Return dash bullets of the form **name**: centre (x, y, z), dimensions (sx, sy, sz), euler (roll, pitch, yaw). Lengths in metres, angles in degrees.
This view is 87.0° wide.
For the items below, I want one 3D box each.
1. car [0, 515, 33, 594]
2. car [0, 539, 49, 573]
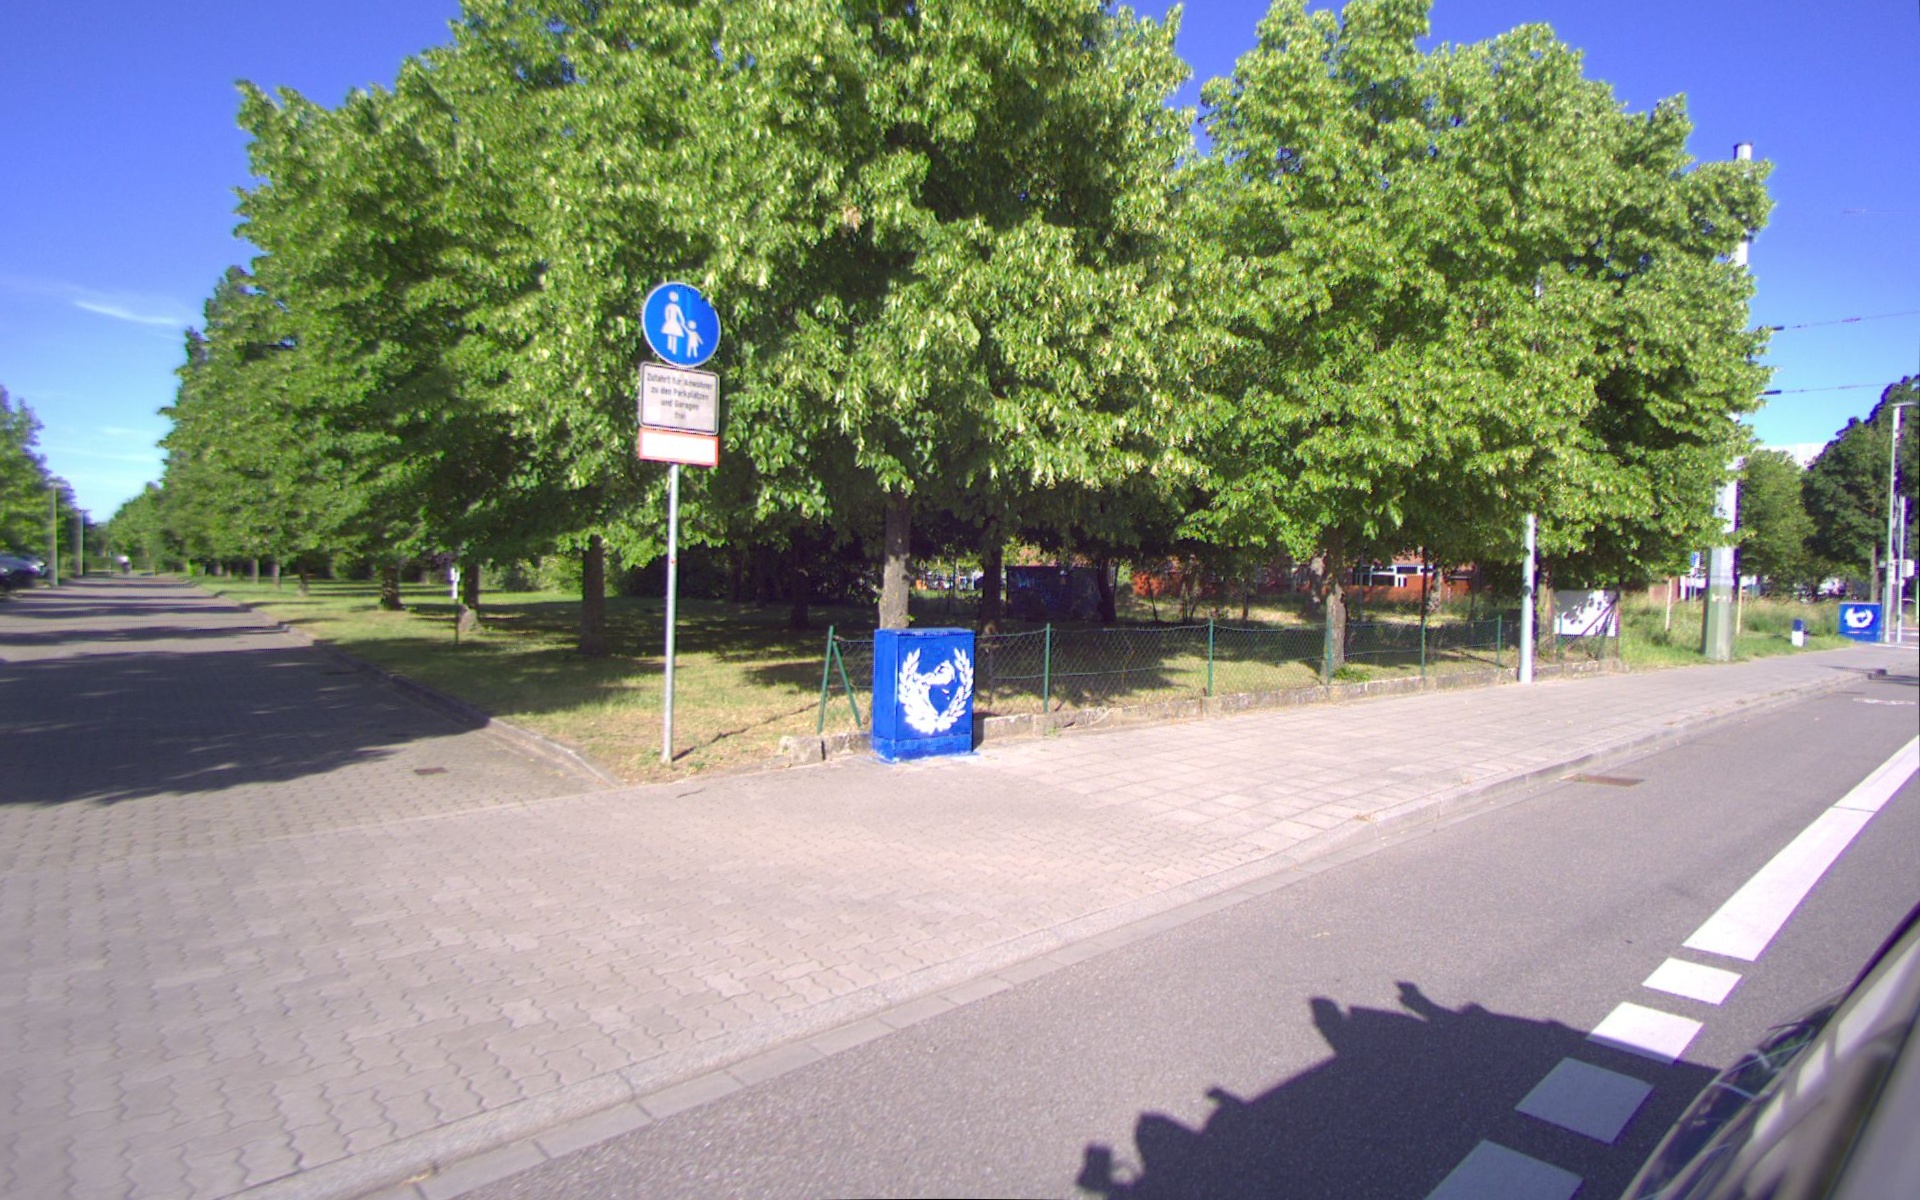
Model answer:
- **car**: centre (-33.619, -1.469, 32.498), dimensions (5.584, 2.565, 2.195), euler (-1, 0, -41)
- **car**: centre (-48.731, -2.228, 51.210), dimensions (3.816, 1.674, 1.817), euler (-1, 0, -41)
